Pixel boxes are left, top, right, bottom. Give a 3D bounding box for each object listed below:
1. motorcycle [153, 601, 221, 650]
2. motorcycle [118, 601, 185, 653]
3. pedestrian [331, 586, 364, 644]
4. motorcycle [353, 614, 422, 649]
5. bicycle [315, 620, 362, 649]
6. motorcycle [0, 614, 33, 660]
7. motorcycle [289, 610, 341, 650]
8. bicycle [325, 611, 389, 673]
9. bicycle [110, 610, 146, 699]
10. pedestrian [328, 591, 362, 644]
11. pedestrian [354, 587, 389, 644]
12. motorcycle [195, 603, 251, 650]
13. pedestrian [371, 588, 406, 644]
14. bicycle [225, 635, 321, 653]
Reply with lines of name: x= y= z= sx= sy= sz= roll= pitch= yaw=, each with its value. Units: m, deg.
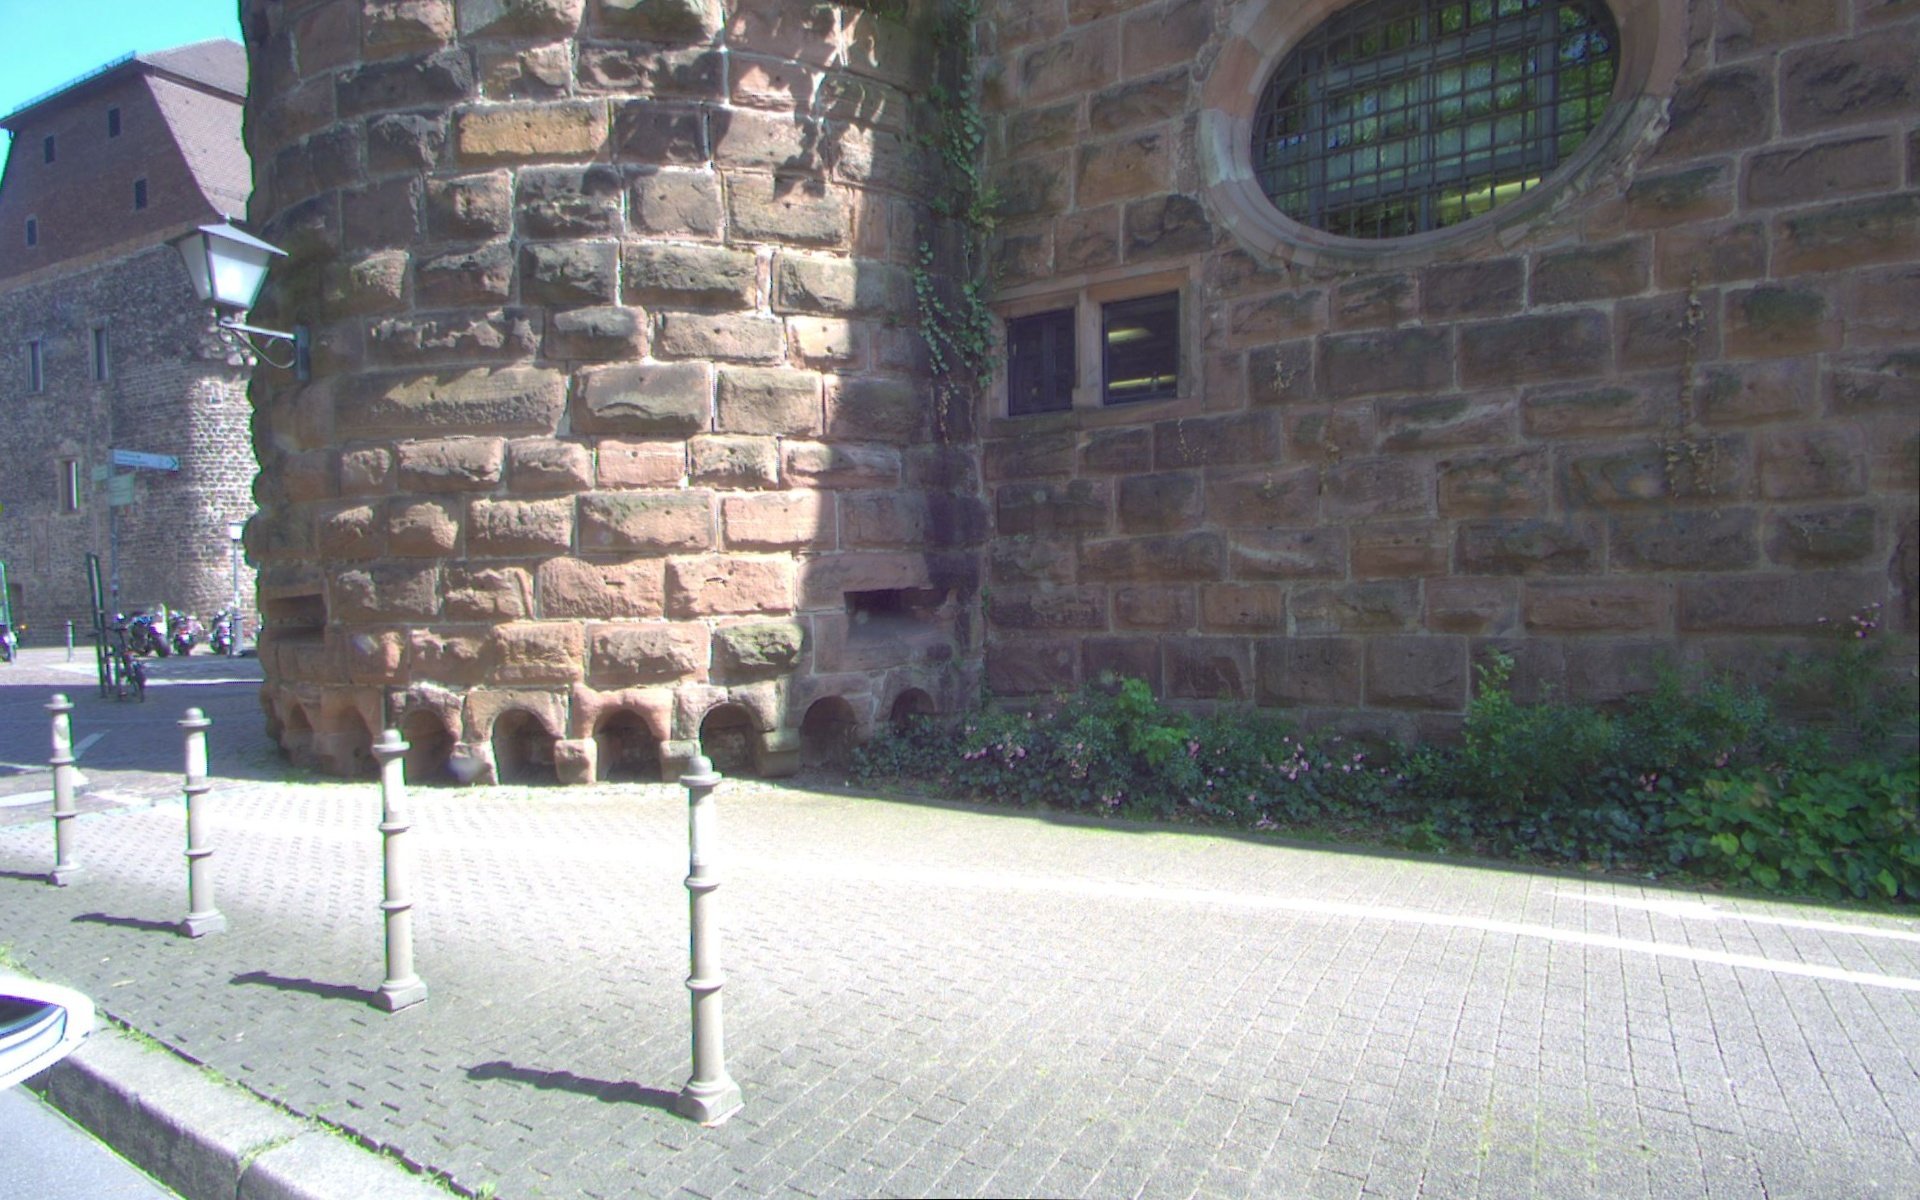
motorcycle: x=-20.274 y=0.674 z=26.233 sx=2.280 sy=1.251 sz=0.674 roll=-1 pitch=-2 yaw=32
motorcycle: x=-20.577 y=0.682 z=25.467 sx=2.169 sy=1.282 sz=0.654 roll=-1 pitch=-1 yaw=32
pedestrian: x=-21.761 y=0.552 z=35.576 sx=0.870 sy=2.039 sz=0.725 roll=1 pitch=-2 yaw=-44
motorcycle: x=-17.988 y=1.006 z=31.498 sx=0.474 sy=1.067 sz=1.858 roll=-1 pitch=-2 yaw=40
bicycle: x=-18.386 y=1.004 z=29.618 sx=1.898 sy=0.831 sz=0.353 roll=0 pitch=-1 yaw=32
motorcycle: x=-22.186 y=0.834 z=23.053 sx=2.453 sy=1.026 sz=0.565 roll=0 pitch=1 yaw=32
motorcycle: x=-18.094 y=0.840 z=28.074 sx=1.814 sy=1.087 sz=0.506 roll=-1 pitch=-2 yaw=32
bicycle: x=-11.979 y=0.811 z=19.872 sx=1.707 sy=1.178 sz=0.445 roll=0 pitch=1 yaw=36
bicycle: x=-12.035 y=0.759 z=14.473 sx=1.750 sy=1.220 sz=0.192 roll=0 pitch=1 yaw=44
pedestrian: x=-21.369 y=0.600 z=34.791 sx=0.831 sy=1.826 sz=0.653 roll=0 pitch=0 yaw=-14
pedestrian: x=-20.139 y=0.537 z=34.271 sx=0.805 sy=1.908 sz=0.671 roll=0 pitch=-1 yaw=-2
motorcycle: x=-19.941 y=0.724 z=27.078 sx=2.002 sy=1.251 sz=0.545 roll=-1 pitch=-2 yaw=32
pedestrian: x=-20.017 y=0.579 z=35.072 sx=0.805 sy=1.944 sz=0.671 roll=0 pitch=-1 yaw=2
bicycle: x=-17.545 y=1.117 z=25.579 sx=1.916 sy=0.386 sz=0.909 roll=0 pitch=-2 yaw=-44
